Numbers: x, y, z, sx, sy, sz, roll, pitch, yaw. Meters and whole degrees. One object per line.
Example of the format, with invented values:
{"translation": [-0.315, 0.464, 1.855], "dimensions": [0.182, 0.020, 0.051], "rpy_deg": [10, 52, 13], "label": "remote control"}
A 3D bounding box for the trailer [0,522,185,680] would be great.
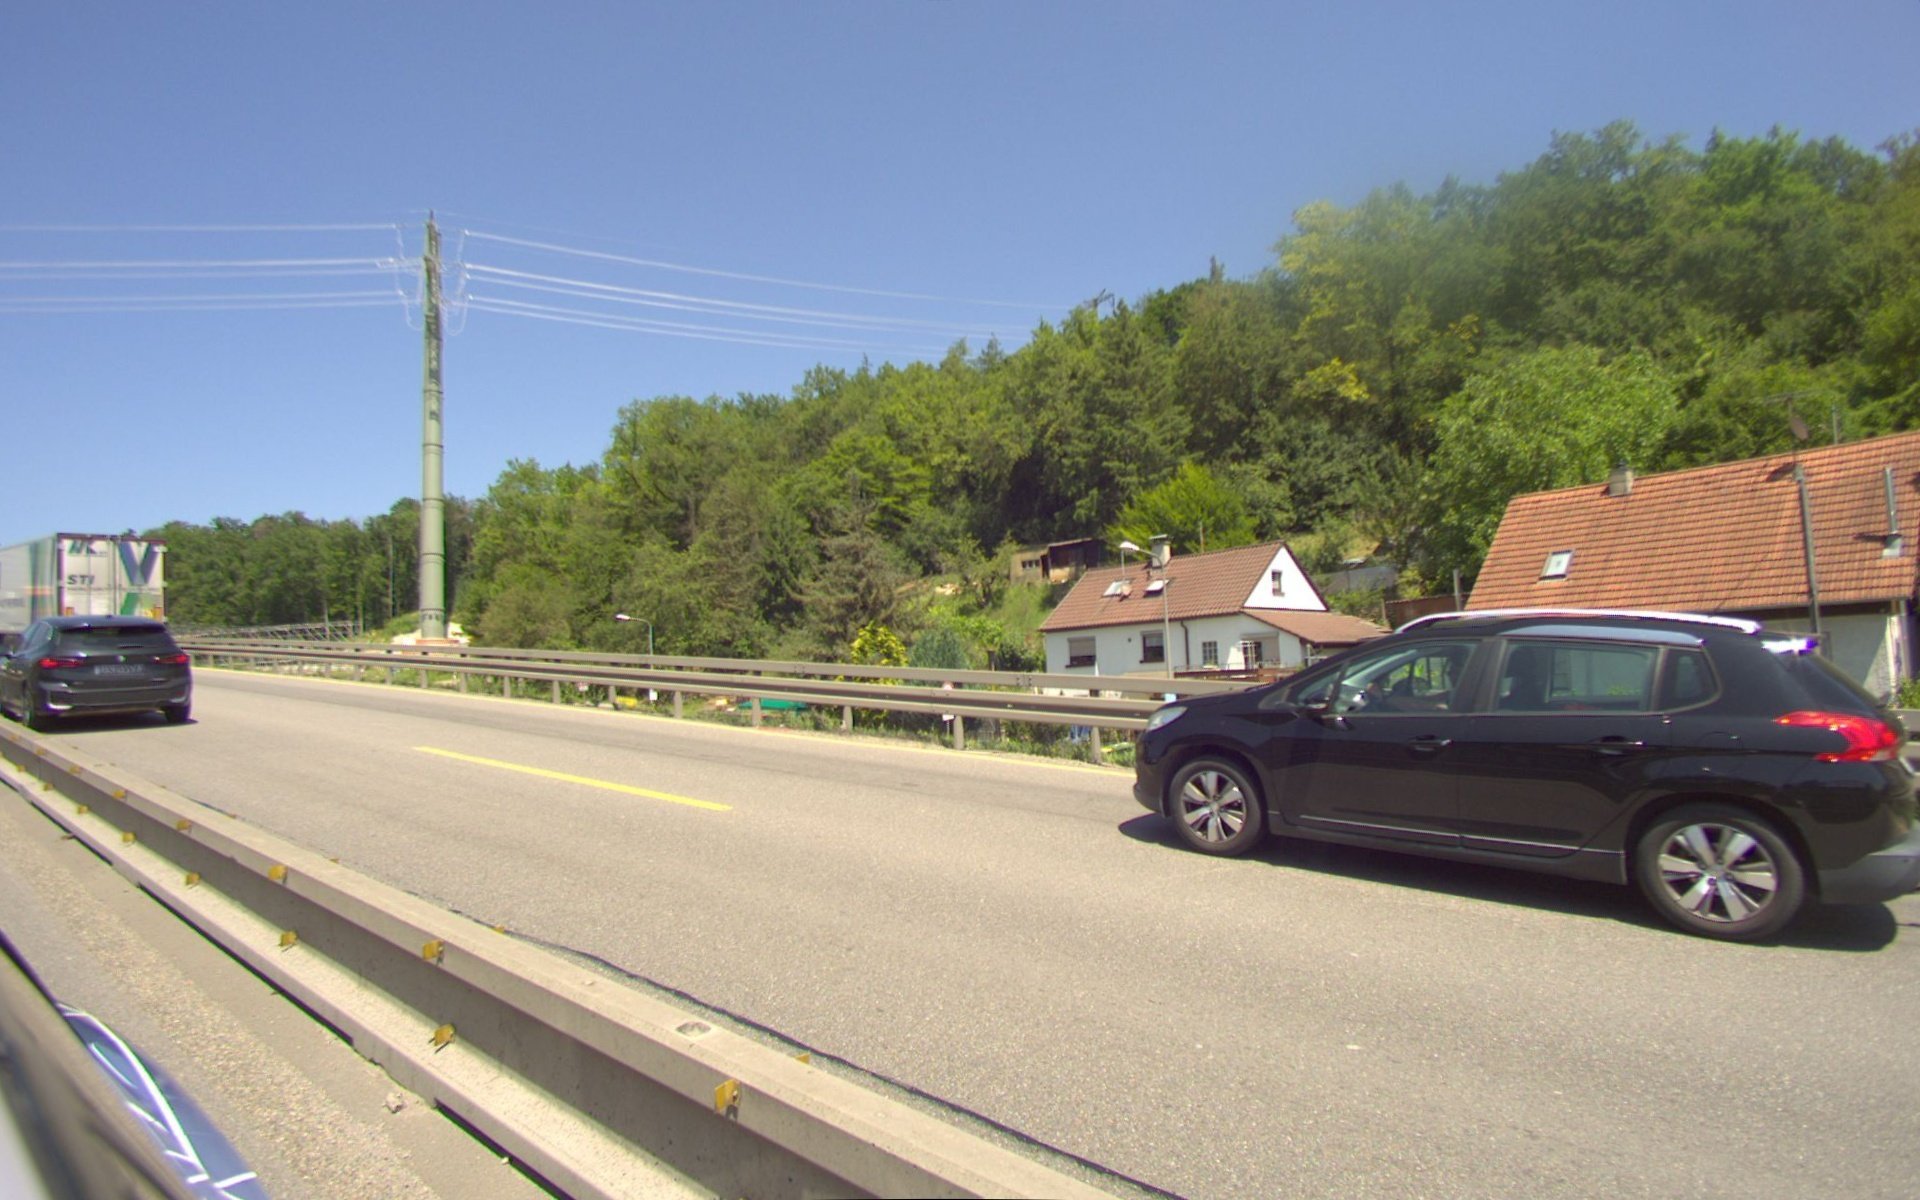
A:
{"translation": [-30.084, 0.067, 34.022], "dimensions": [14.043, 4.411, 3.220], "rpy_deg": [-1, 0, 39], "label": "trailer"}

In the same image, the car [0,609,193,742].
{"translation": [-12.893, 0.972, 14.818], "dimensions": [4.157, 1.598, 1.801], "rpy_deg": [-1, 2, 41], "label": "car"}

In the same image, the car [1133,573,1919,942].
{"translation": [3.201, 0.726, 5.887], "dimensions": [3.998, 1.501, 1.714], "rpy_deg": [-4, -3, 41], "label": "car"}

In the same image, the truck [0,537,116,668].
{"translation": [-34.671, 0.106, 37.875], "dimensions": [8.294, 4.395, 3.270], "rpy_deg": [-1, 0, 40], "label": "truck"}
